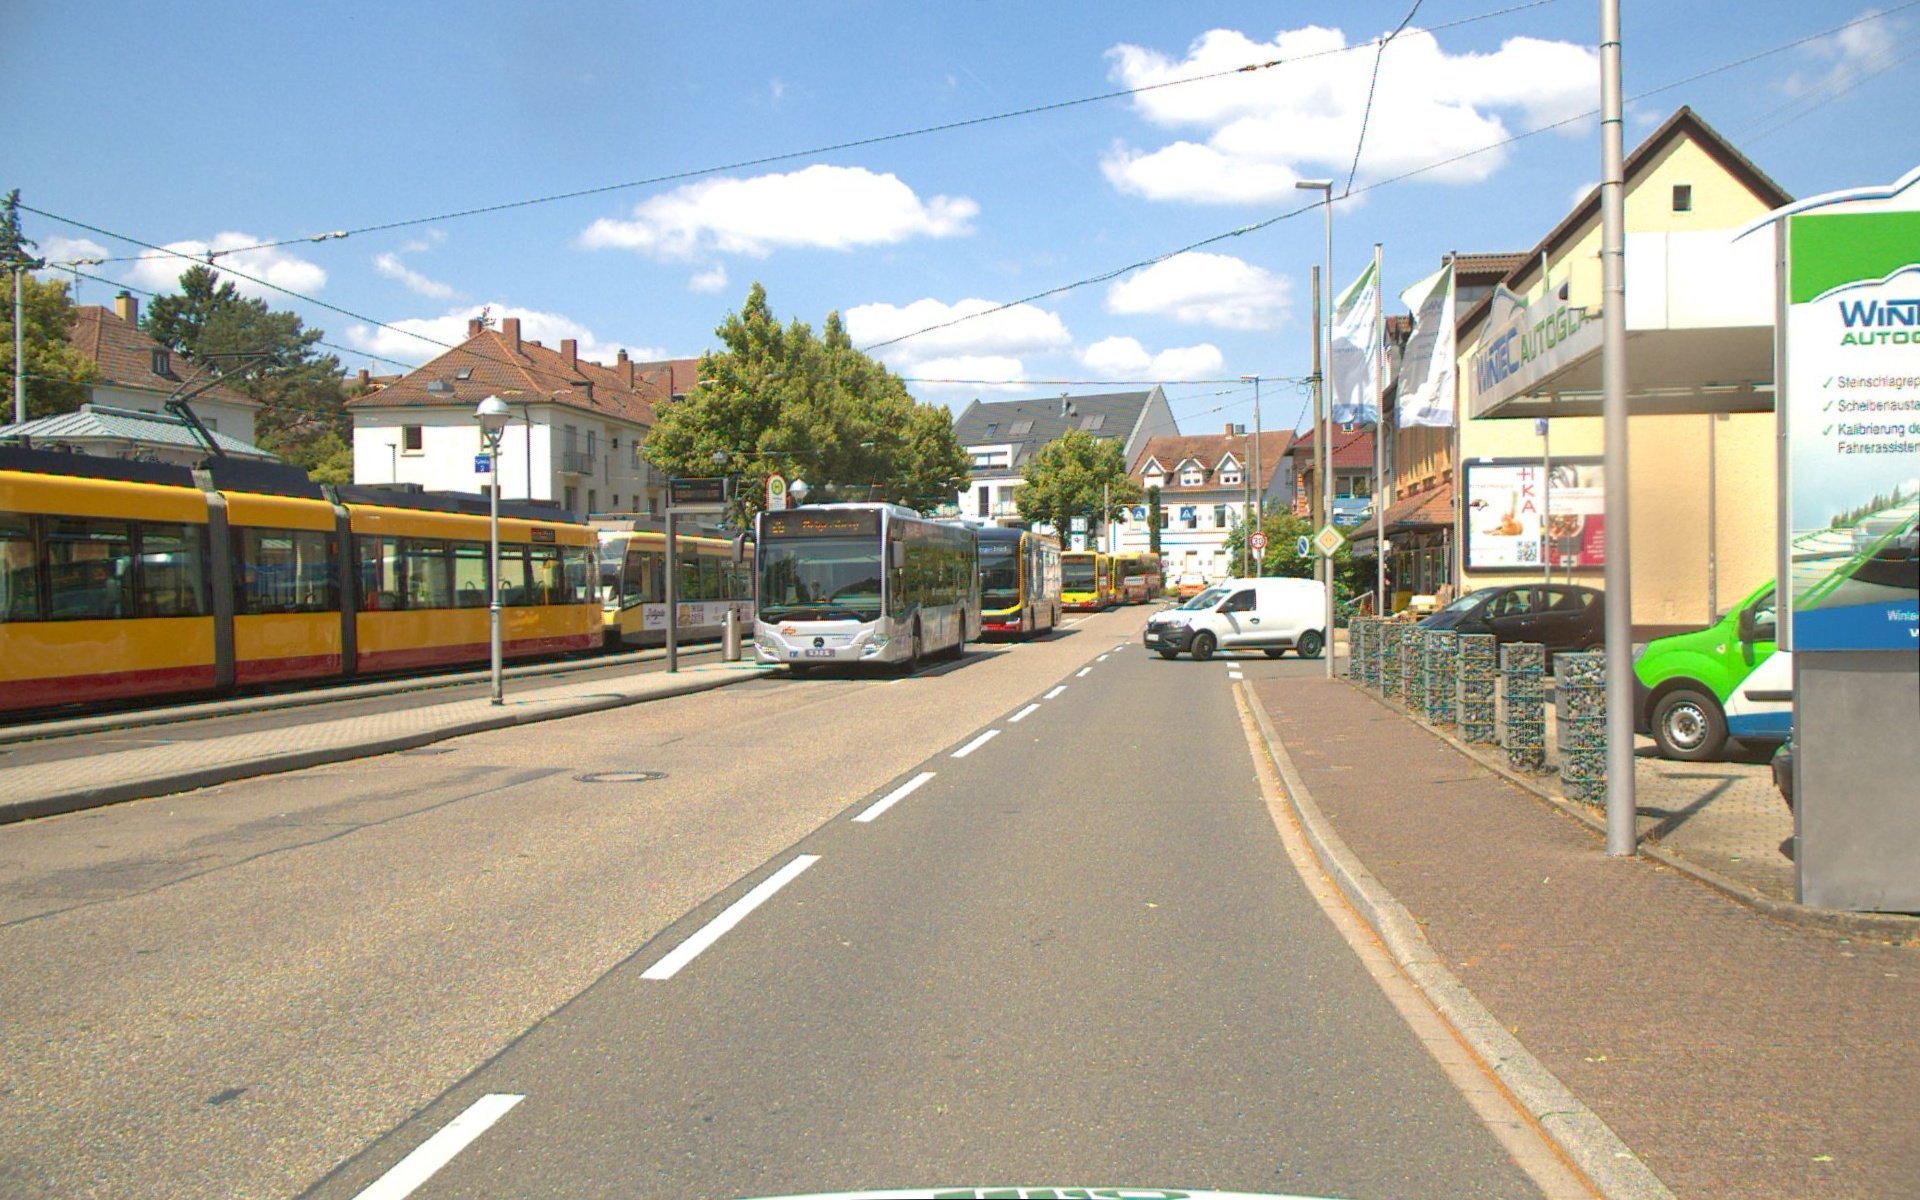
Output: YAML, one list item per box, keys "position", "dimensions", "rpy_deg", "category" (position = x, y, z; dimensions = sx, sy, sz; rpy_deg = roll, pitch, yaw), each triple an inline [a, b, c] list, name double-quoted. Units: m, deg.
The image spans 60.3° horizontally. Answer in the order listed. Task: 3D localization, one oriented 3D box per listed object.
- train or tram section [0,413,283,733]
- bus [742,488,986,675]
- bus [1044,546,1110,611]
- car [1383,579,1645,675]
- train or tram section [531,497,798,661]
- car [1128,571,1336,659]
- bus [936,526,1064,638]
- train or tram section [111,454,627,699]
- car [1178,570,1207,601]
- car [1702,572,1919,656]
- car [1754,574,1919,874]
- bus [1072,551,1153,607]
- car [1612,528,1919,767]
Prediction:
- position: [-12.464, -0.293, 17.684]
  dimensions: [2.749, 3.631, 14.193]
  rpy_deg: [0, 0, 9]
  category: "train or tram section"
- position: [-1.563, -0.333, 34.237]
  dimensions: [2.672, 3.184, 12.018]
  rpy_deg: [0, 0, 8]
  category: "bus"
- position: [6.398, -1.108, 88.923]
  dimensions: [2.672, 3.275, 11.058]
  rpy_deg: [0, 0, 8]
  category: "bus"
- position: [9.460, 0.448, 28.433]
  dimensions: [3.851, 1.545, 1.821]
  rpy_deg: [-1, 0, -4]
  category: "car"
- position: [-7.945, -0.537, 47.842]
  dimensions: [2.725, 3.963, 15.564]
  rpy_deg: [0, 0, 9]
  category: "train or tram section"
- position: [6.128, 0.296, 37.395]
  dimensions: [4.240, 1.840, 1.989]
  rpy_deg: [0, 2, -20]
  category: "car"
- position: [1.516, -0.537, 53.395]
  dimensions: [2.672, 3.184, 12.018]
  rpy_deg: [0, 0, 8]
  category: "bus"
- position: [-10.311, -0.369, 31.959]
  dimensions: [2.725, 3.631, 14.718]
  rpy_deg: [0, 0, 9]
  category: "train or tram section"
- position: [15.447, -0.937, 109.937]
  dimensions: [1.769, 2.015, 4.003]
  rpy_deg: [0, 0, 6]
  category: "car"
- position: [19.959, 0.300, 38.805]
  dimensions: [4.213, 1.840, 2.002]
  rpy_deg: [0, 2, 4]
  category: "car"
- position: [6.294, 0.577, 8.203]
  dimensions: [4.082, 1.464, 1.898]
  rpy_deg: [-1, 0, 31]
  category: "car"
- position: [9.476, -1.236, 101.691]
  dimensions: [2.579, 3.275, 9.944]
  rpy_deg: [0, 0, 19]
  category: "bus"
- position: [7.703, 0.360, 13.624]
  dimensions: [1.825, 1.825, 3.966]
  rpy_deg: [-1, 0, -40]
  category: "car"
